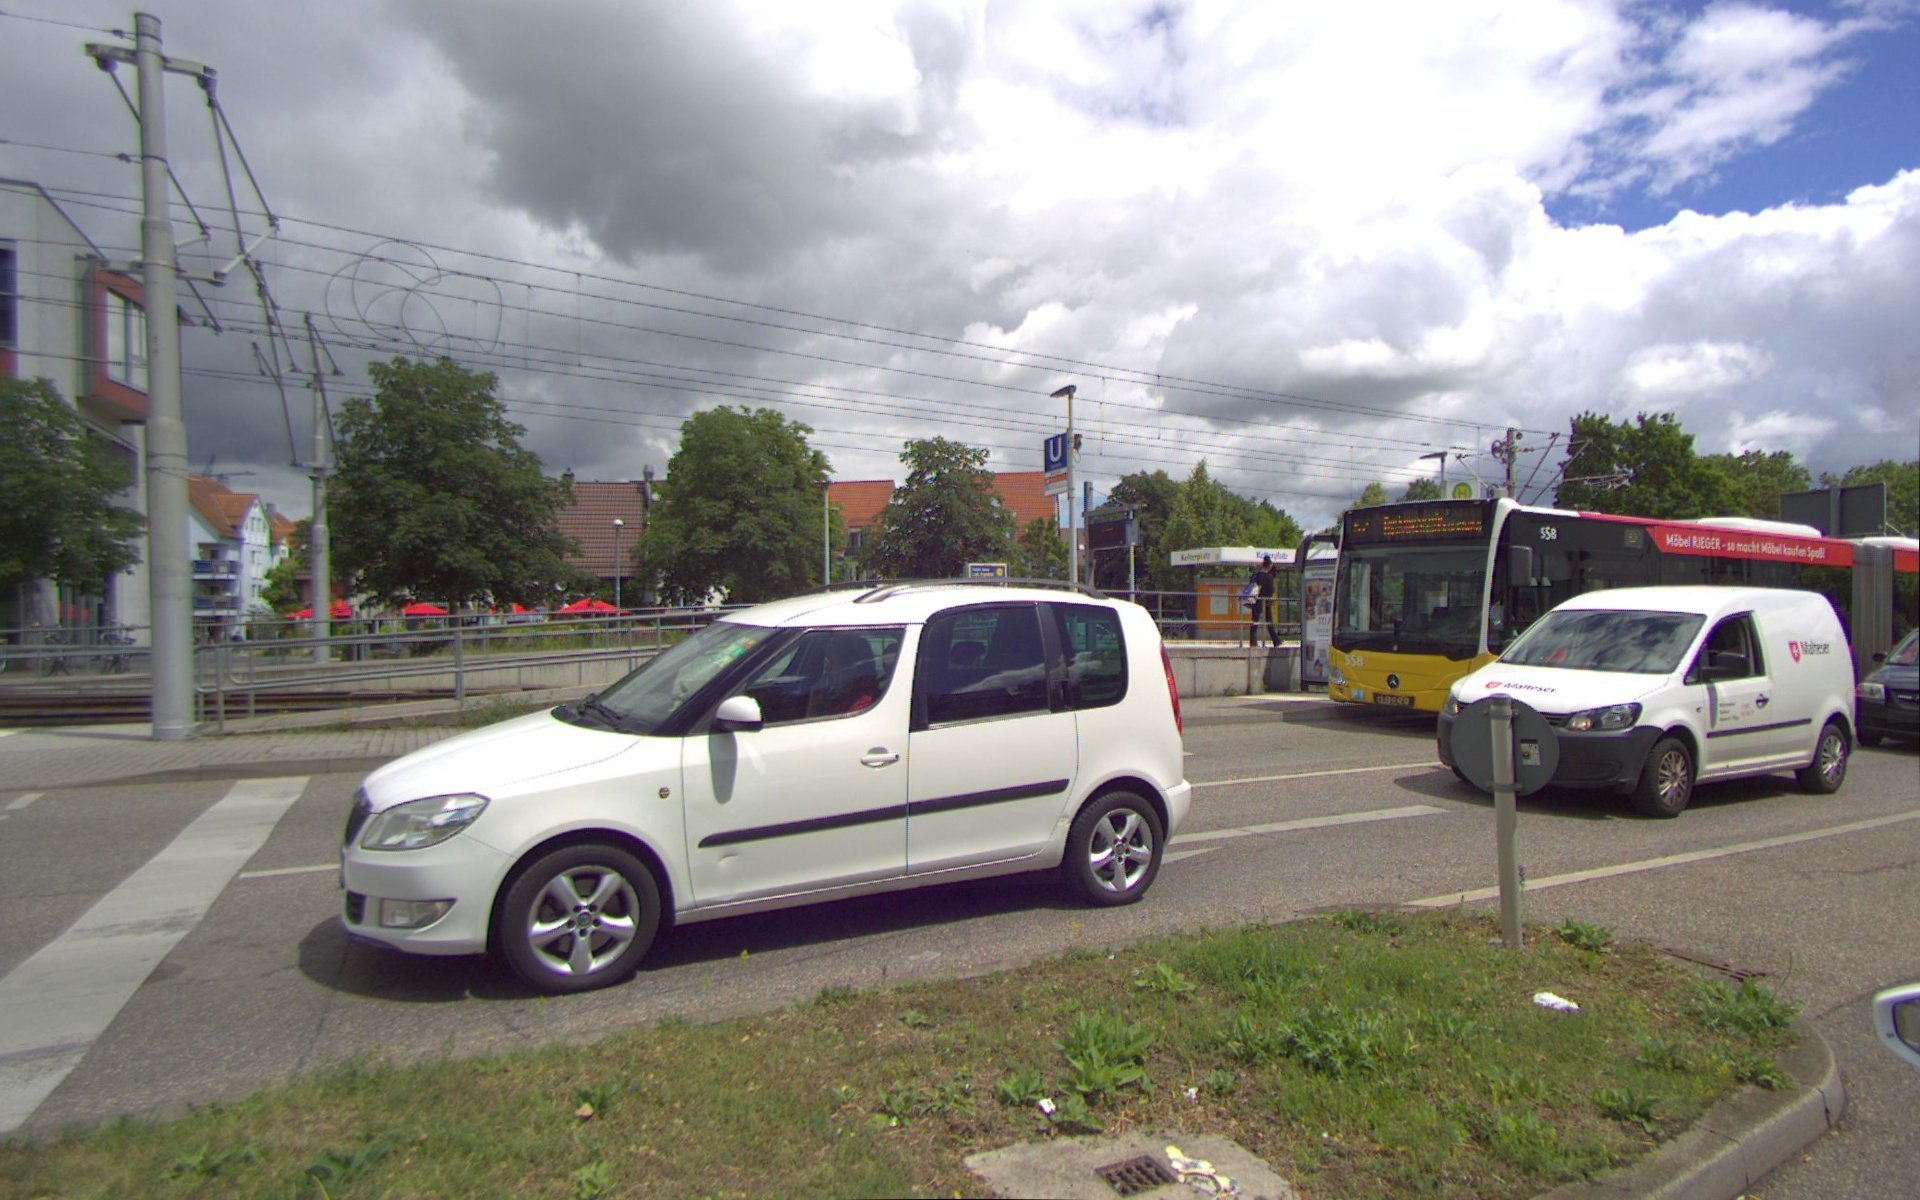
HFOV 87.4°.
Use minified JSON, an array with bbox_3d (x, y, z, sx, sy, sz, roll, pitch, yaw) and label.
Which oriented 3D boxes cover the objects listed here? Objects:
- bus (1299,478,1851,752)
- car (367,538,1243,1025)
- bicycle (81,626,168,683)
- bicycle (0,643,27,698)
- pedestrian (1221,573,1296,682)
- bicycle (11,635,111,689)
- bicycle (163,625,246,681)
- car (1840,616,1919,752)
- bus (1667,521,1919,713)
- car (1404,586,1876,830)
[{"bbox_3d":[9.550,0.209,15.099,9.584,3.150,2.715,0,-1,-29],"label":"bus"},{"bbox_3d":[-0.649,0.644,5.161,4.027,1.671,1.692,1,0,-28],"label":"car"},{"bbox_3d":[-17.181,1.103,20.706,0.598,1.112,1.900,0,-2,-14],"label":"bicycle"},{"bbox_3d":[-19.510,1.416,20.103,0.685,1.077,1.892,1,-2,-26],"label":"bicycle"},{"bbox_3d":[5.760,0.532,19.429,1.015,2.040,0.968,1,-2,-26],"label":"pedestrian"},{"bbox_3d":[-18.370,1.241,20.587,0.682,1.042,1.900,0,-2,-14],"label":"bicycle"},{"bbox_3d":[-15.857,1.091,21.142,0.682,1.112,1.900,-2,-1,-14],"label":"bicycle"},{"bbox_3d":[12.758,1.015,12.555,3.688,1.572,1.522,1,0,-30],"label":"car"},{"bbox_3d":[17.643,0.405,19.610,8.853,3.110,2.715,2,-1,-29],"label":"bus"},{"bbox_3d":[6.093,0.820,8.870,4.454,1.684,1.753,1,-2,-31],"label":"car"}]
